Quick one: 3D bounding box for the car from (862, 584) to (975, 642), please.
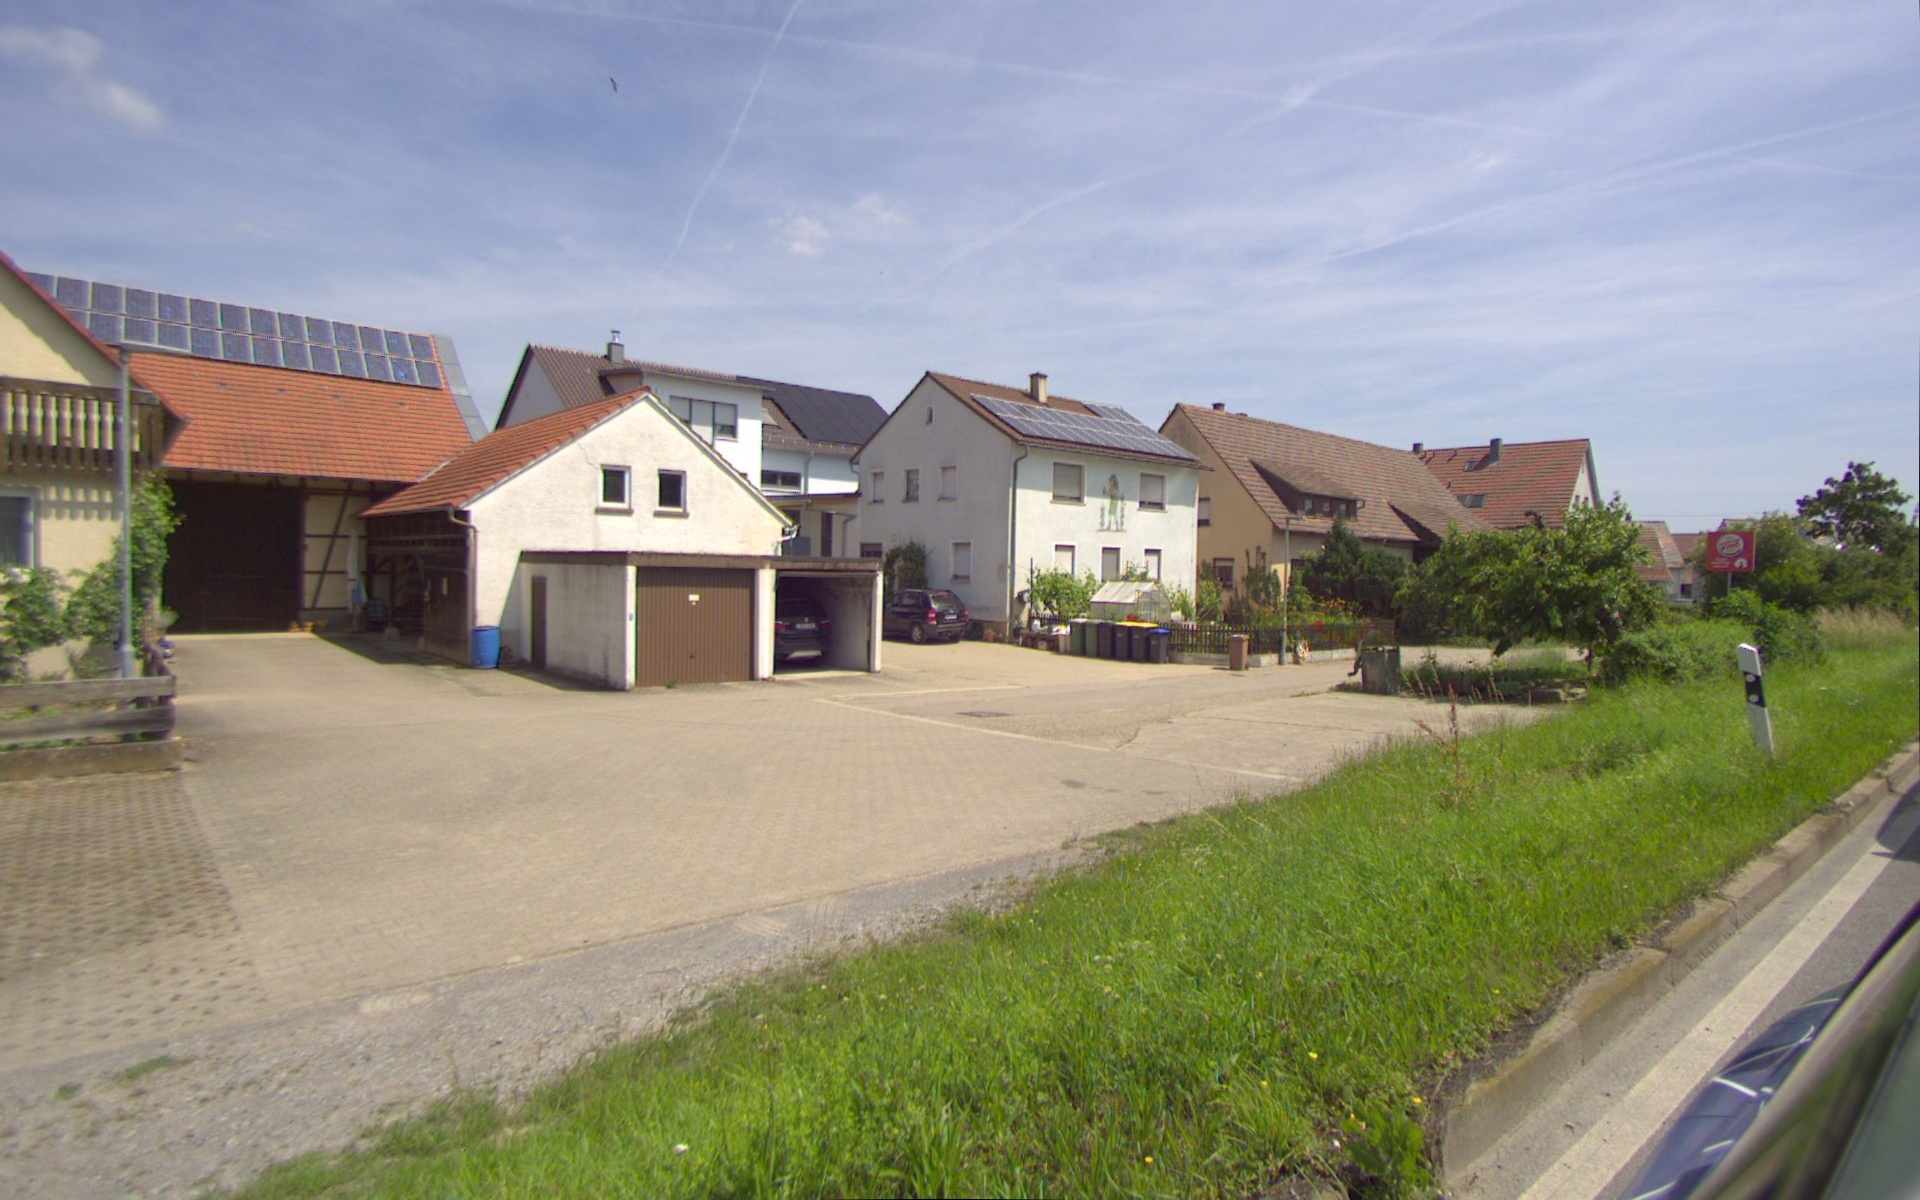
[{"bbox_3d":[-1.438,0.387,33.878,1.811,1.714,3.959,-1,3,-38],"label":"car"}]

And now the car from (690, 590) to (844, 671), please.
[{"bbox_3d":[-4.573,0.633,23.597,1.802,1.597,3.995,-1,2,-40],"label":"car"}]
